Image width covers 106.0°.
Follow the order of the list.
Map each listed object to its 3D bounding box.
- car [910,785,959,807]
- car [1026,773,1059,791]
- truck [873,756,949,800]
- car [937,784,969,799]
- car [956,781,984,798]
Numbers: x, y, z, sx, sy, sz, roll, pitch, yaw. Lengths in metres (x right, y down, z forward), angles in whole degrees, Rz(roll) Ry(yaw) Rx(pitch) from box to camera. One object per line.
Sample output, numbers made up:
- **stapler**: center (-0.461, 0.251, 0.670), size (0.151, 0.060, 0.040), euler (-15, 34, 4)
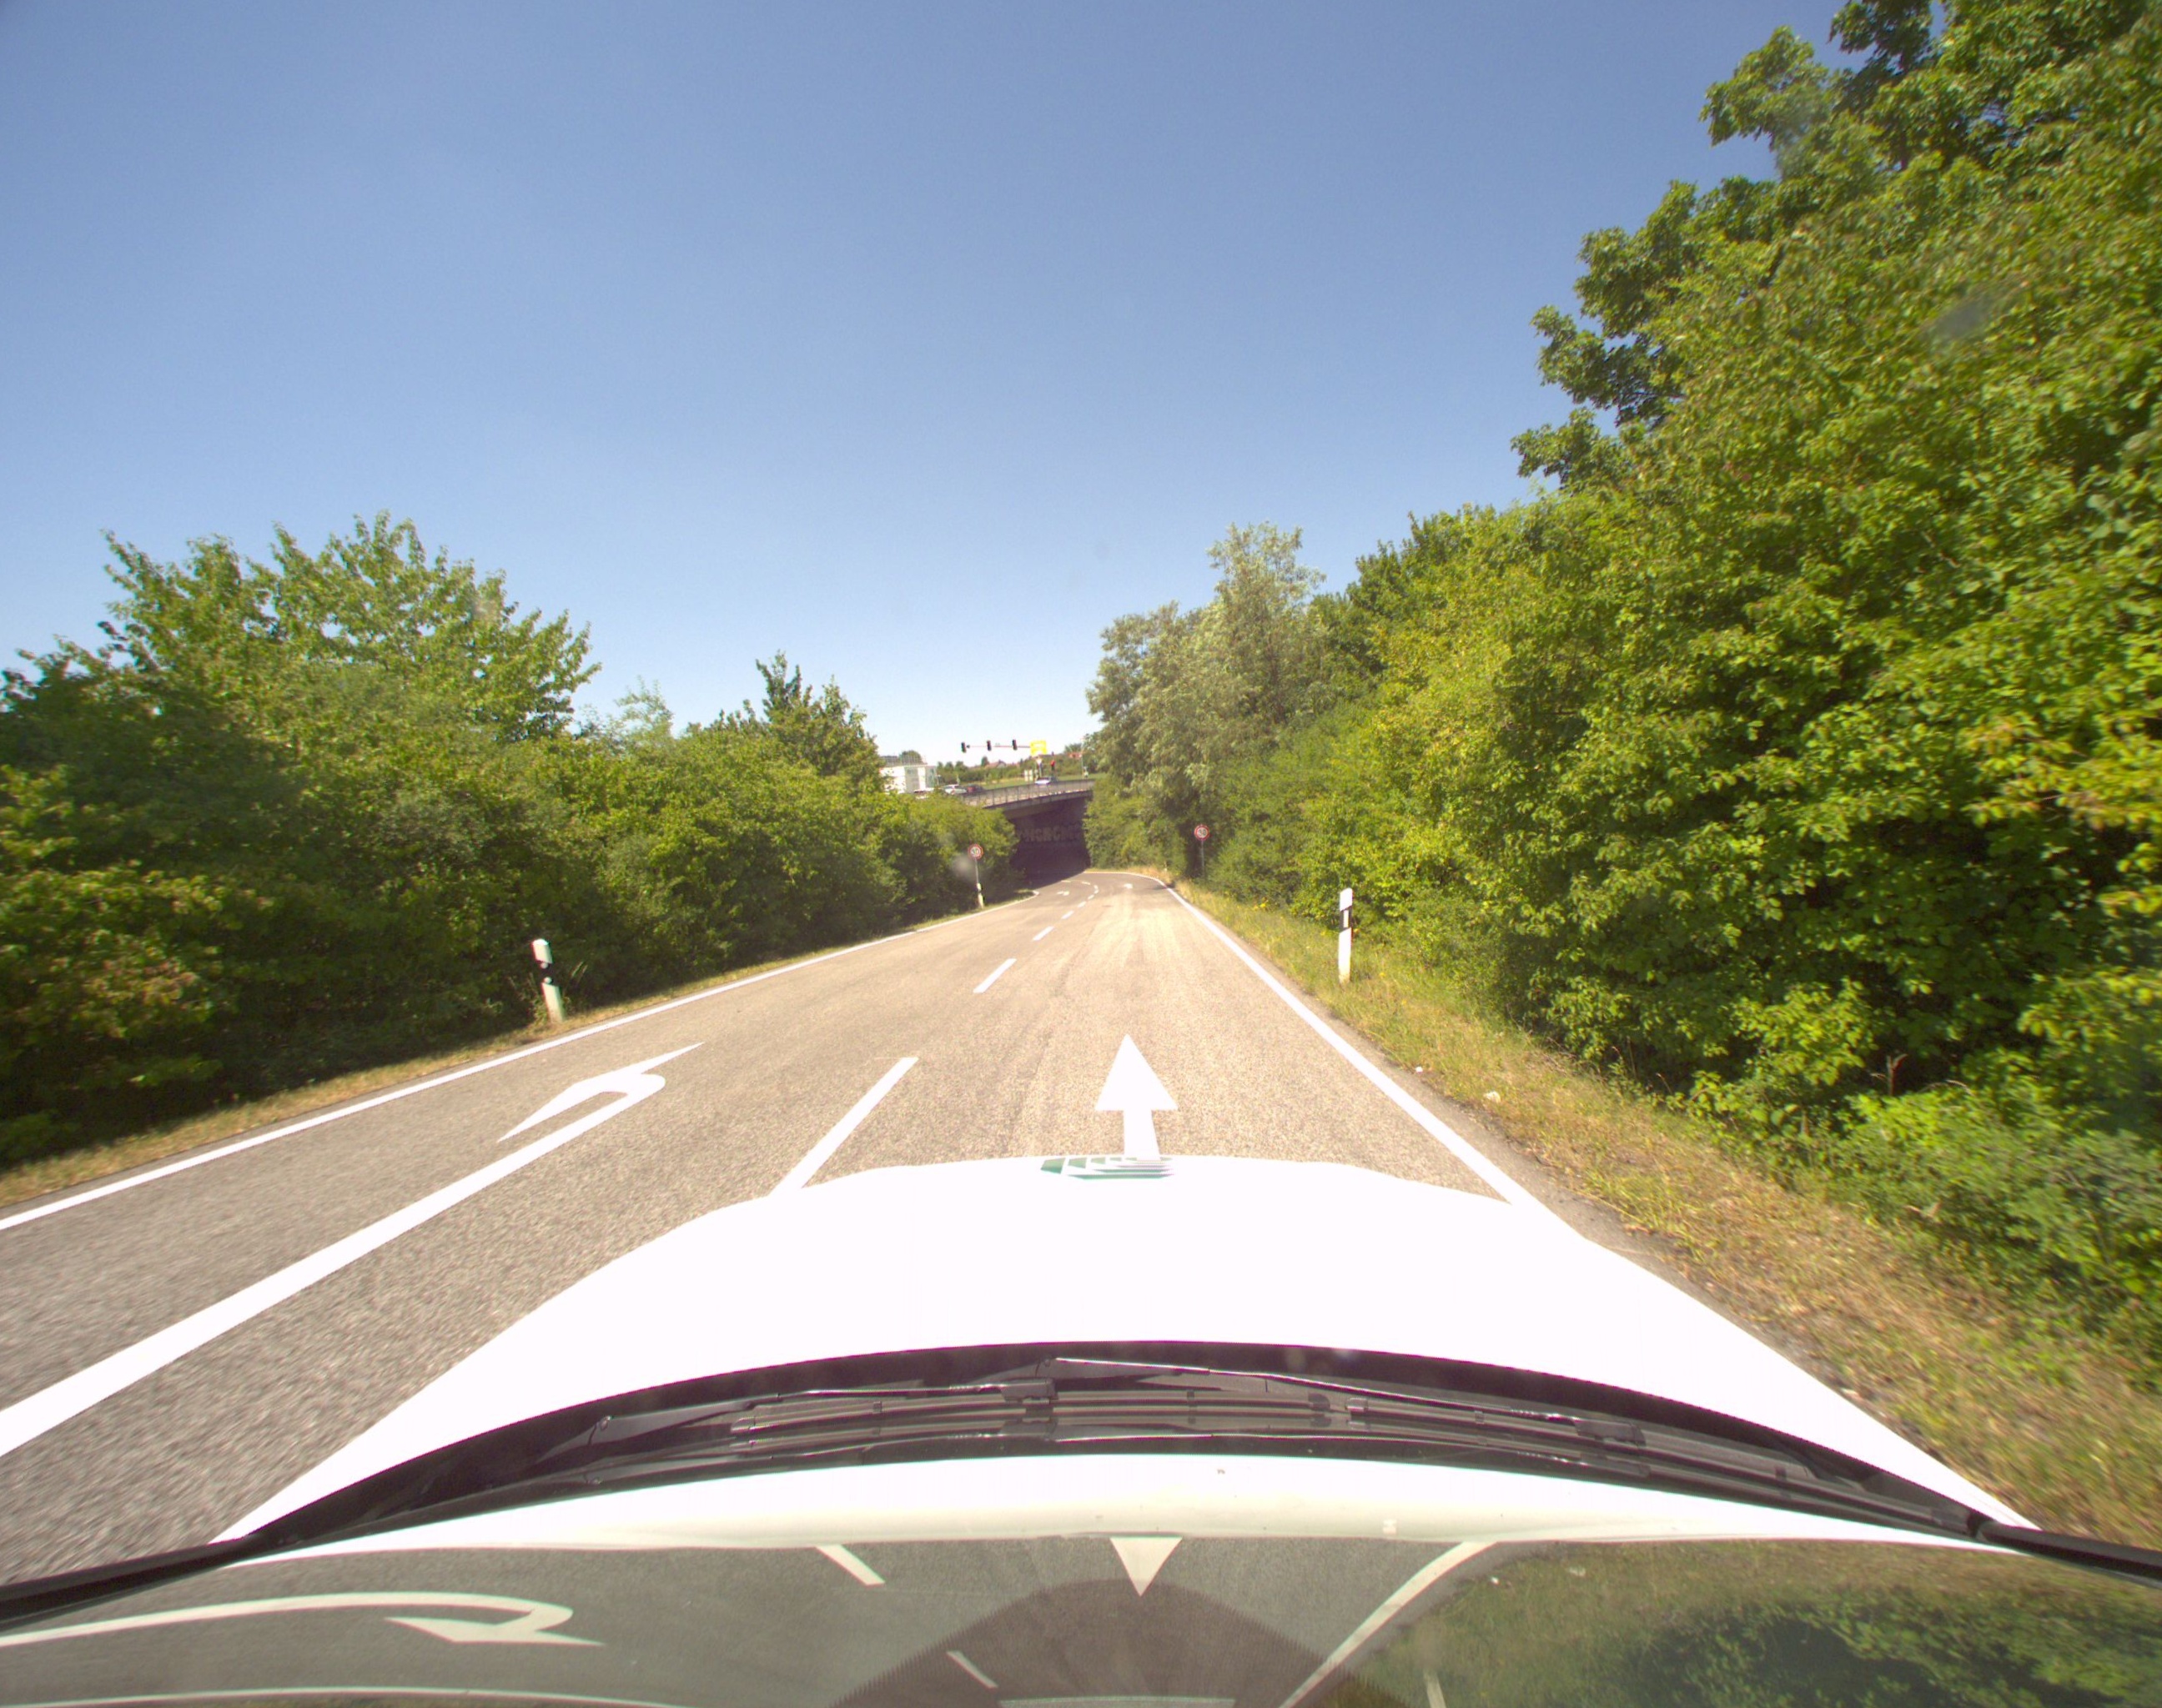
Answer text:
- **car**: center (-9.322, -3.691, 51.953), size (1.599, 1.189, 3.494), euler (-5, 3, 15)
- **car**: center (-3.550, -6.700, 75.881), size (1.980, 1.420, 4.014), euler (-5, 3, 12)
- **truck**: center (-15.960, -7.120, 77.322), size (3.005, 3.588, 8.941), euler (-5, 3, 15)
- **car**: center (-13.481, -6.580, 85.779), size (1.883, 1.363, 4.015), euler (-2, 1, 13)
- **car**: center (-12.427, -7.208, 91.386), size (1.983, 1.617, 4.009), euler (-2, 1, 7)
